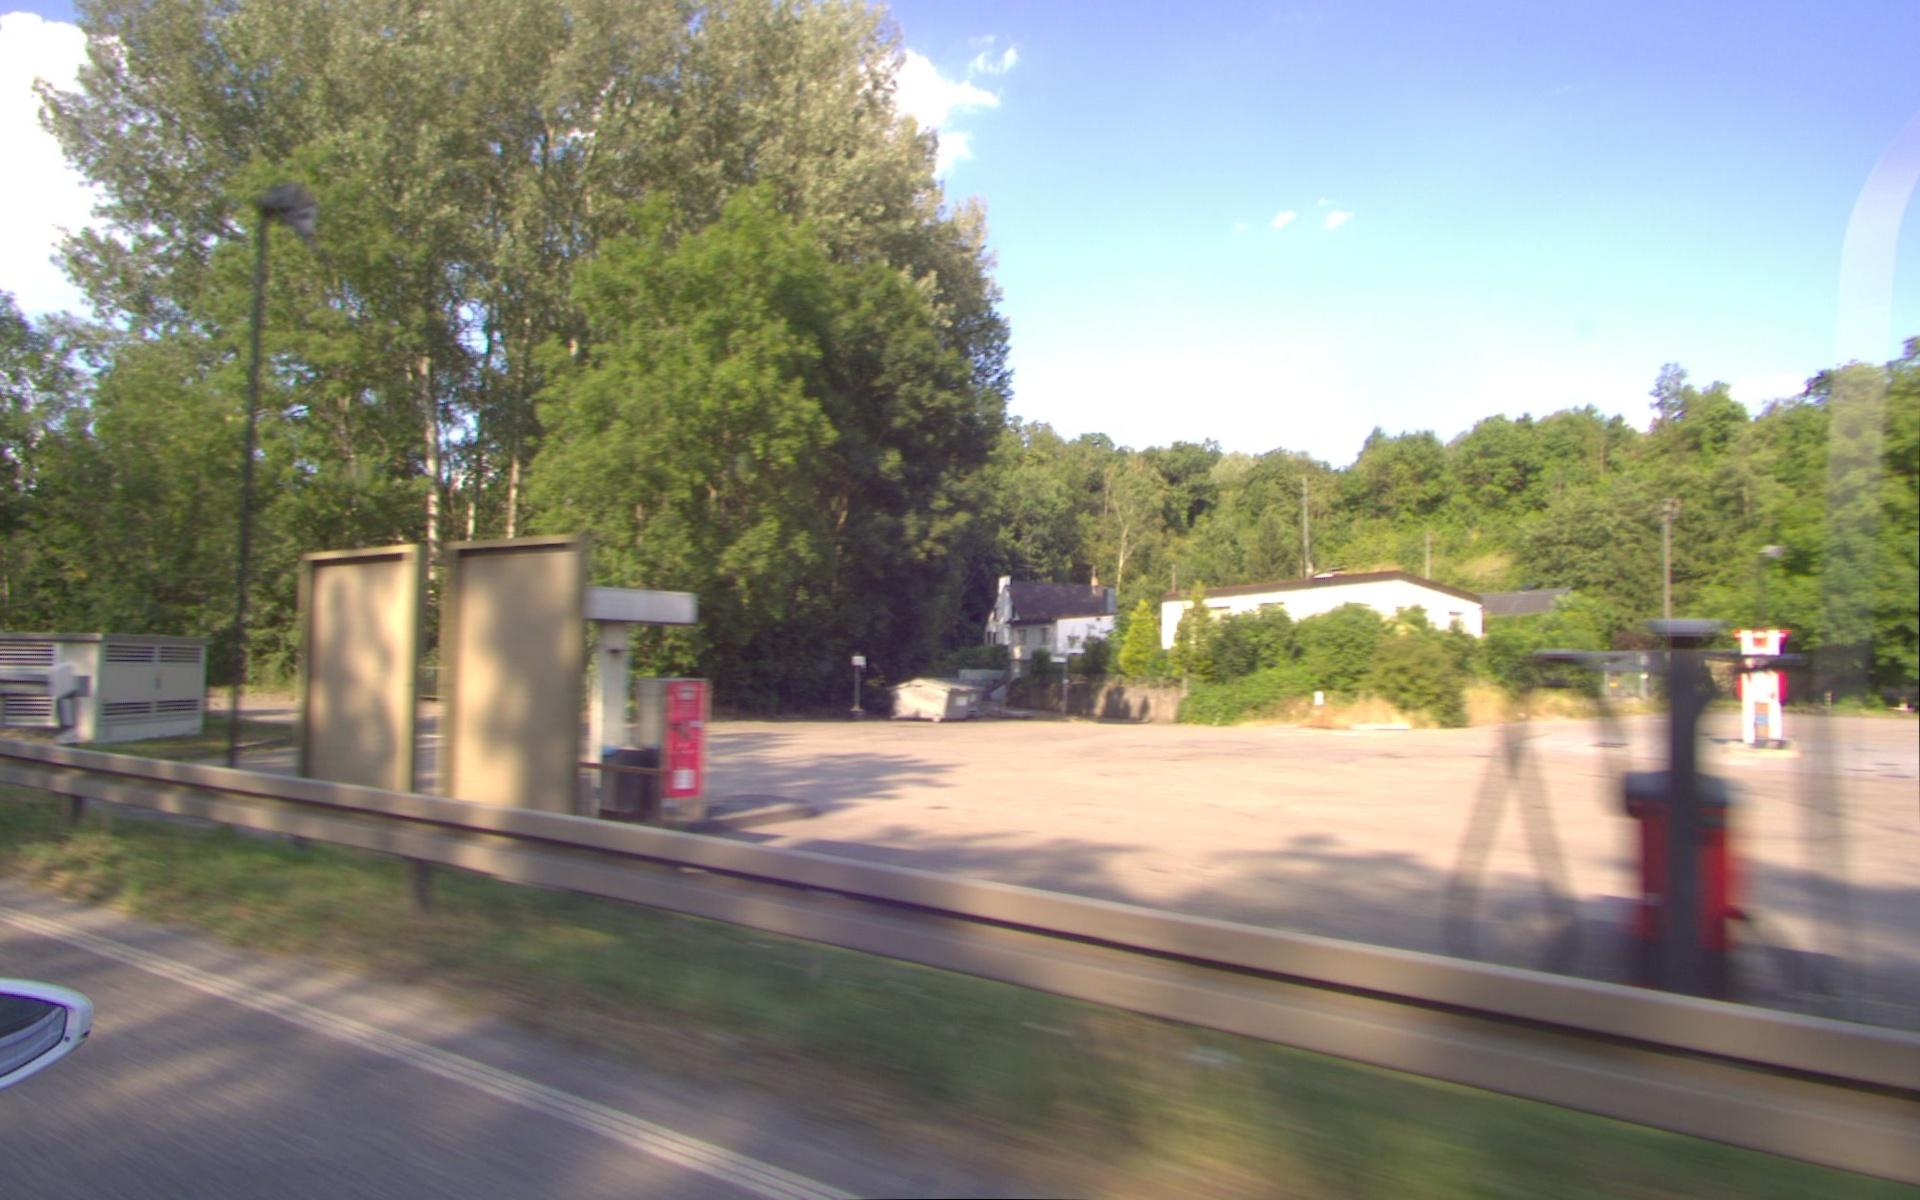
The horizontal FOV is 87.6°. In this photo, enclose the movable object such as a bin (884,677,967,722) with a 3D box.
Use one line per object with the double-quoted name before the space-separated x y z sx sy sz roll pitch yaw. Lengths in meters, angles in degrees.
"movable object such as a bin" -1.197 3.412 34.442 2.517 1.436 1.267 0 -5 27
